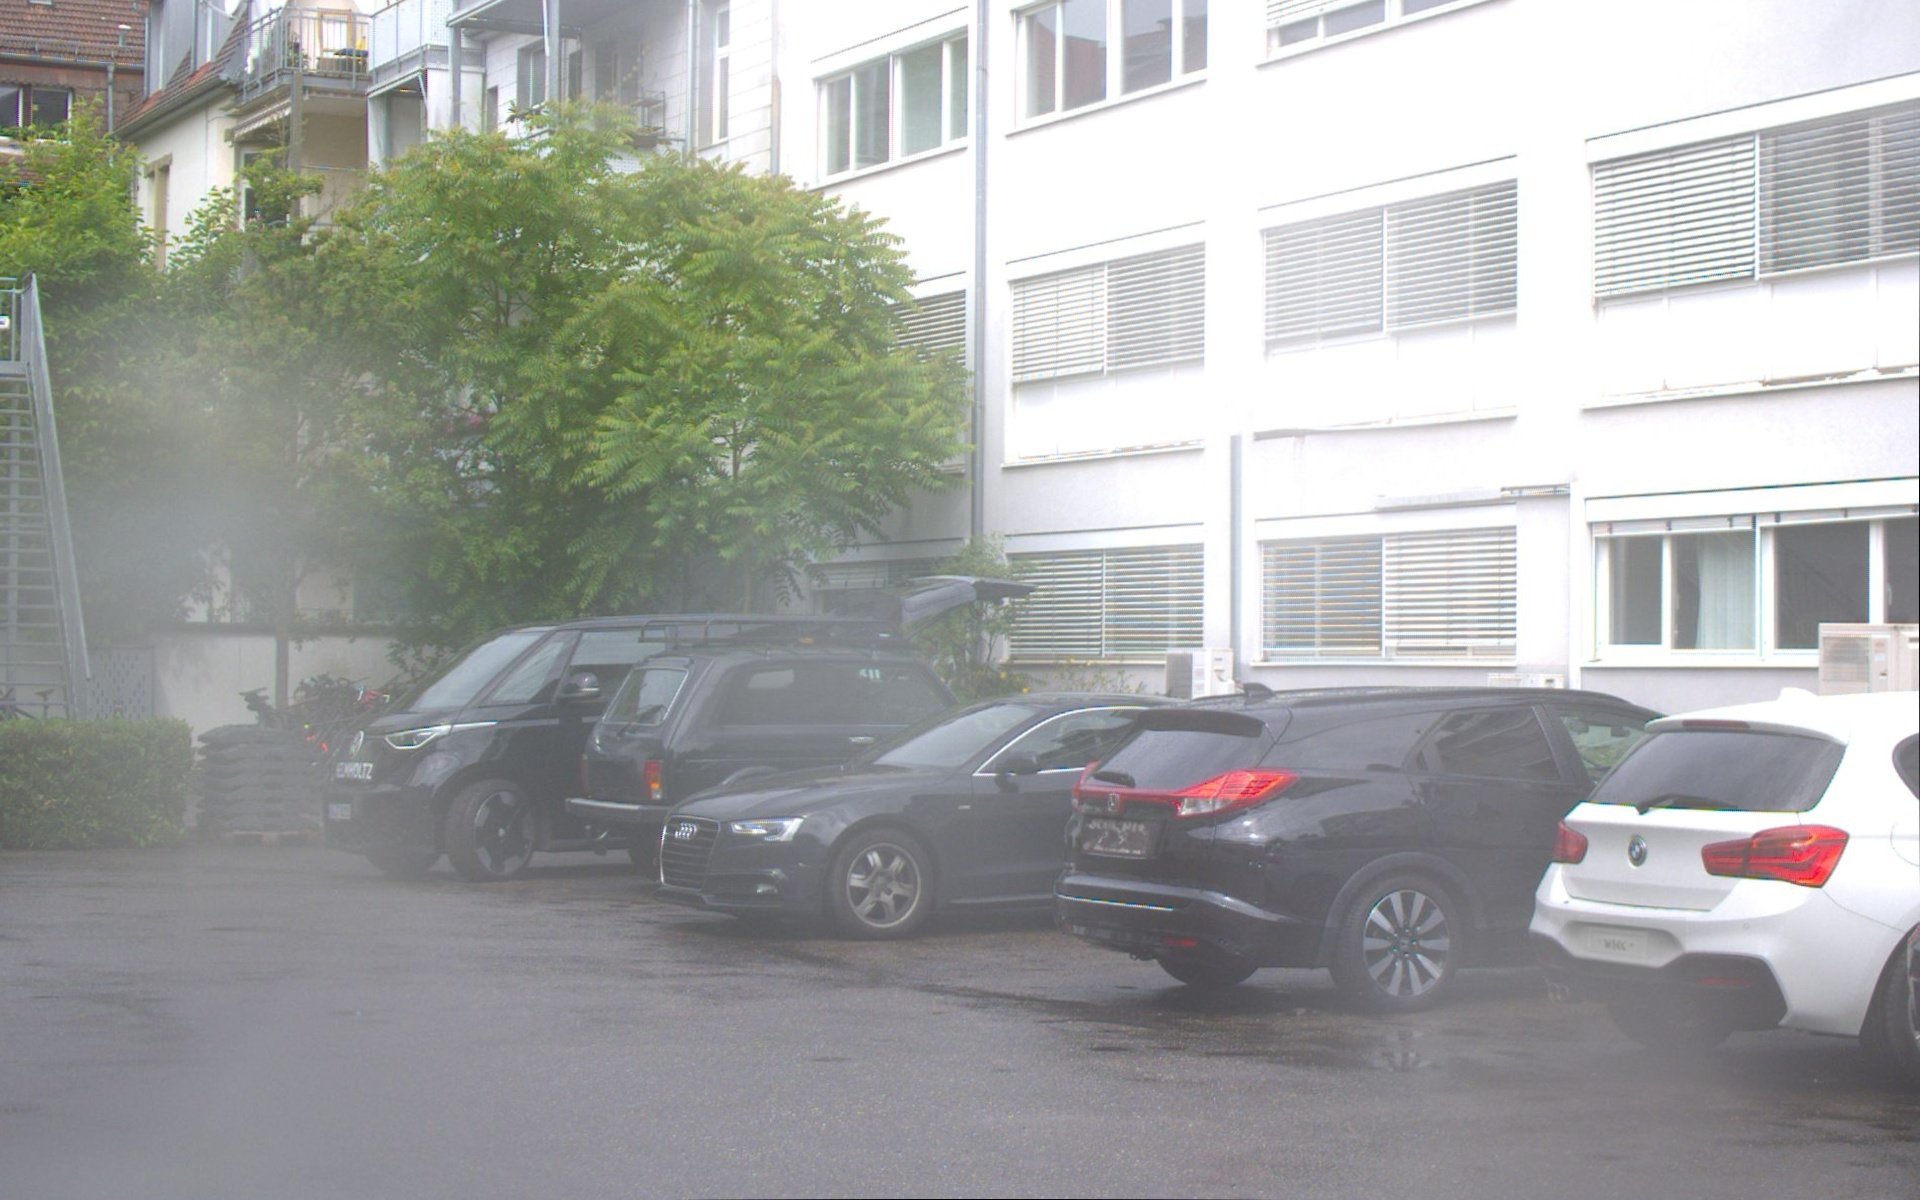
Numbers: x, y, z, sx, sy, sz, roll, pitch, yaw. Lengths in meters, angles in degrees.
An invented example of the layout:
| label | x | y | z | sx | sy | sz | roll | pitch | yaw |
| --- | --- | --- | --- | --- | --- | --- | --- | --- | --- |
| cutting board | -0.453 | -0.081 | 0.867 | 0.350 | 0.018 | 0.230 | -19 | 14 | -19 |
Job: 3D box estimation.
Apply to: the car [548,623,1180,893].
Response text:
| label | x | y | z | sx | sy | sz | roll | pitch | yaw |
| --- | --- | --- | --- | --- | --- | --- | --- | --- | --- |
| car | -0.666 | 1.032 | 23.547 | 3.908 | 1.682 | 1.817 | 0 | -1 | -23 |

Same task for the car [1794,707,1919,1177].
| label | x | y | z | sx | sy | sz | roll | pitch | yaw |
| --- | --- | --- | --- | --- | --- | --- | --- | --- | --- |
| car | 4.838 | 1.018 | 11.014 | 3.986 | 1.398 | 1.773 | -1 | 0 | -27 |

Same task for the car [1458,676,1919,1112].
| label | x | y | z | sx | sy | sz | roll | pitch | yaw |
| --- | --- | --- | --- | --- | --- | --- | --- | --- | --- |
| car | 4.112 | 1.031 | 13.412 | 3.986 | 1.453 | 1.773 | 0 | -1 | -27 |

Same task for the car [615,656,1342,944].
| label | x | y | z | sx | sy | sz | roll | pitch | yaw |
| --- | --- | --- | --- | --- | --- | --- | --- | --- | --- |
| car | 0.118 | 1.113 | 20.323 | 3.908 | 1.508 | 1.752 | 0 | -1 | -27 |

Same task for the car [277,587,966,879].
| label | x | y | z | sx | sy | sz | roll | pitch | yaw |
| --- | --- | --- | --- | --- | --- | --- | --- | --- | --- |
| car | -2.515 | 0.912 | 25.801 | 4.635 | 1.996 | 2.225 | 0 | 0 | -32 |

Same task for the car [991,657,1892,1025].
| label | x | y | z | sx | sy | sz | roll | pitch | yaw |
| --- | --- | --- | --- | --- | --- | --- | --- | --- | --- |
| car | 2.305 | 1.054 | 16.333 | 3.908 | 1.508 | 1.820 | 0 | -1 | -29 |

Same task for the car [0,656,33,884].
| label | x | y | z | sx | sy | sz | roll | pitch | yaw |
| --- | --- | --- | --- | --- | --- | --- | --- | --- | --- |
| car | -7.627 | 1.081 | 23.297 | 1.979 | 1.439 | 4.001 | 1 | -1 | -24 |
